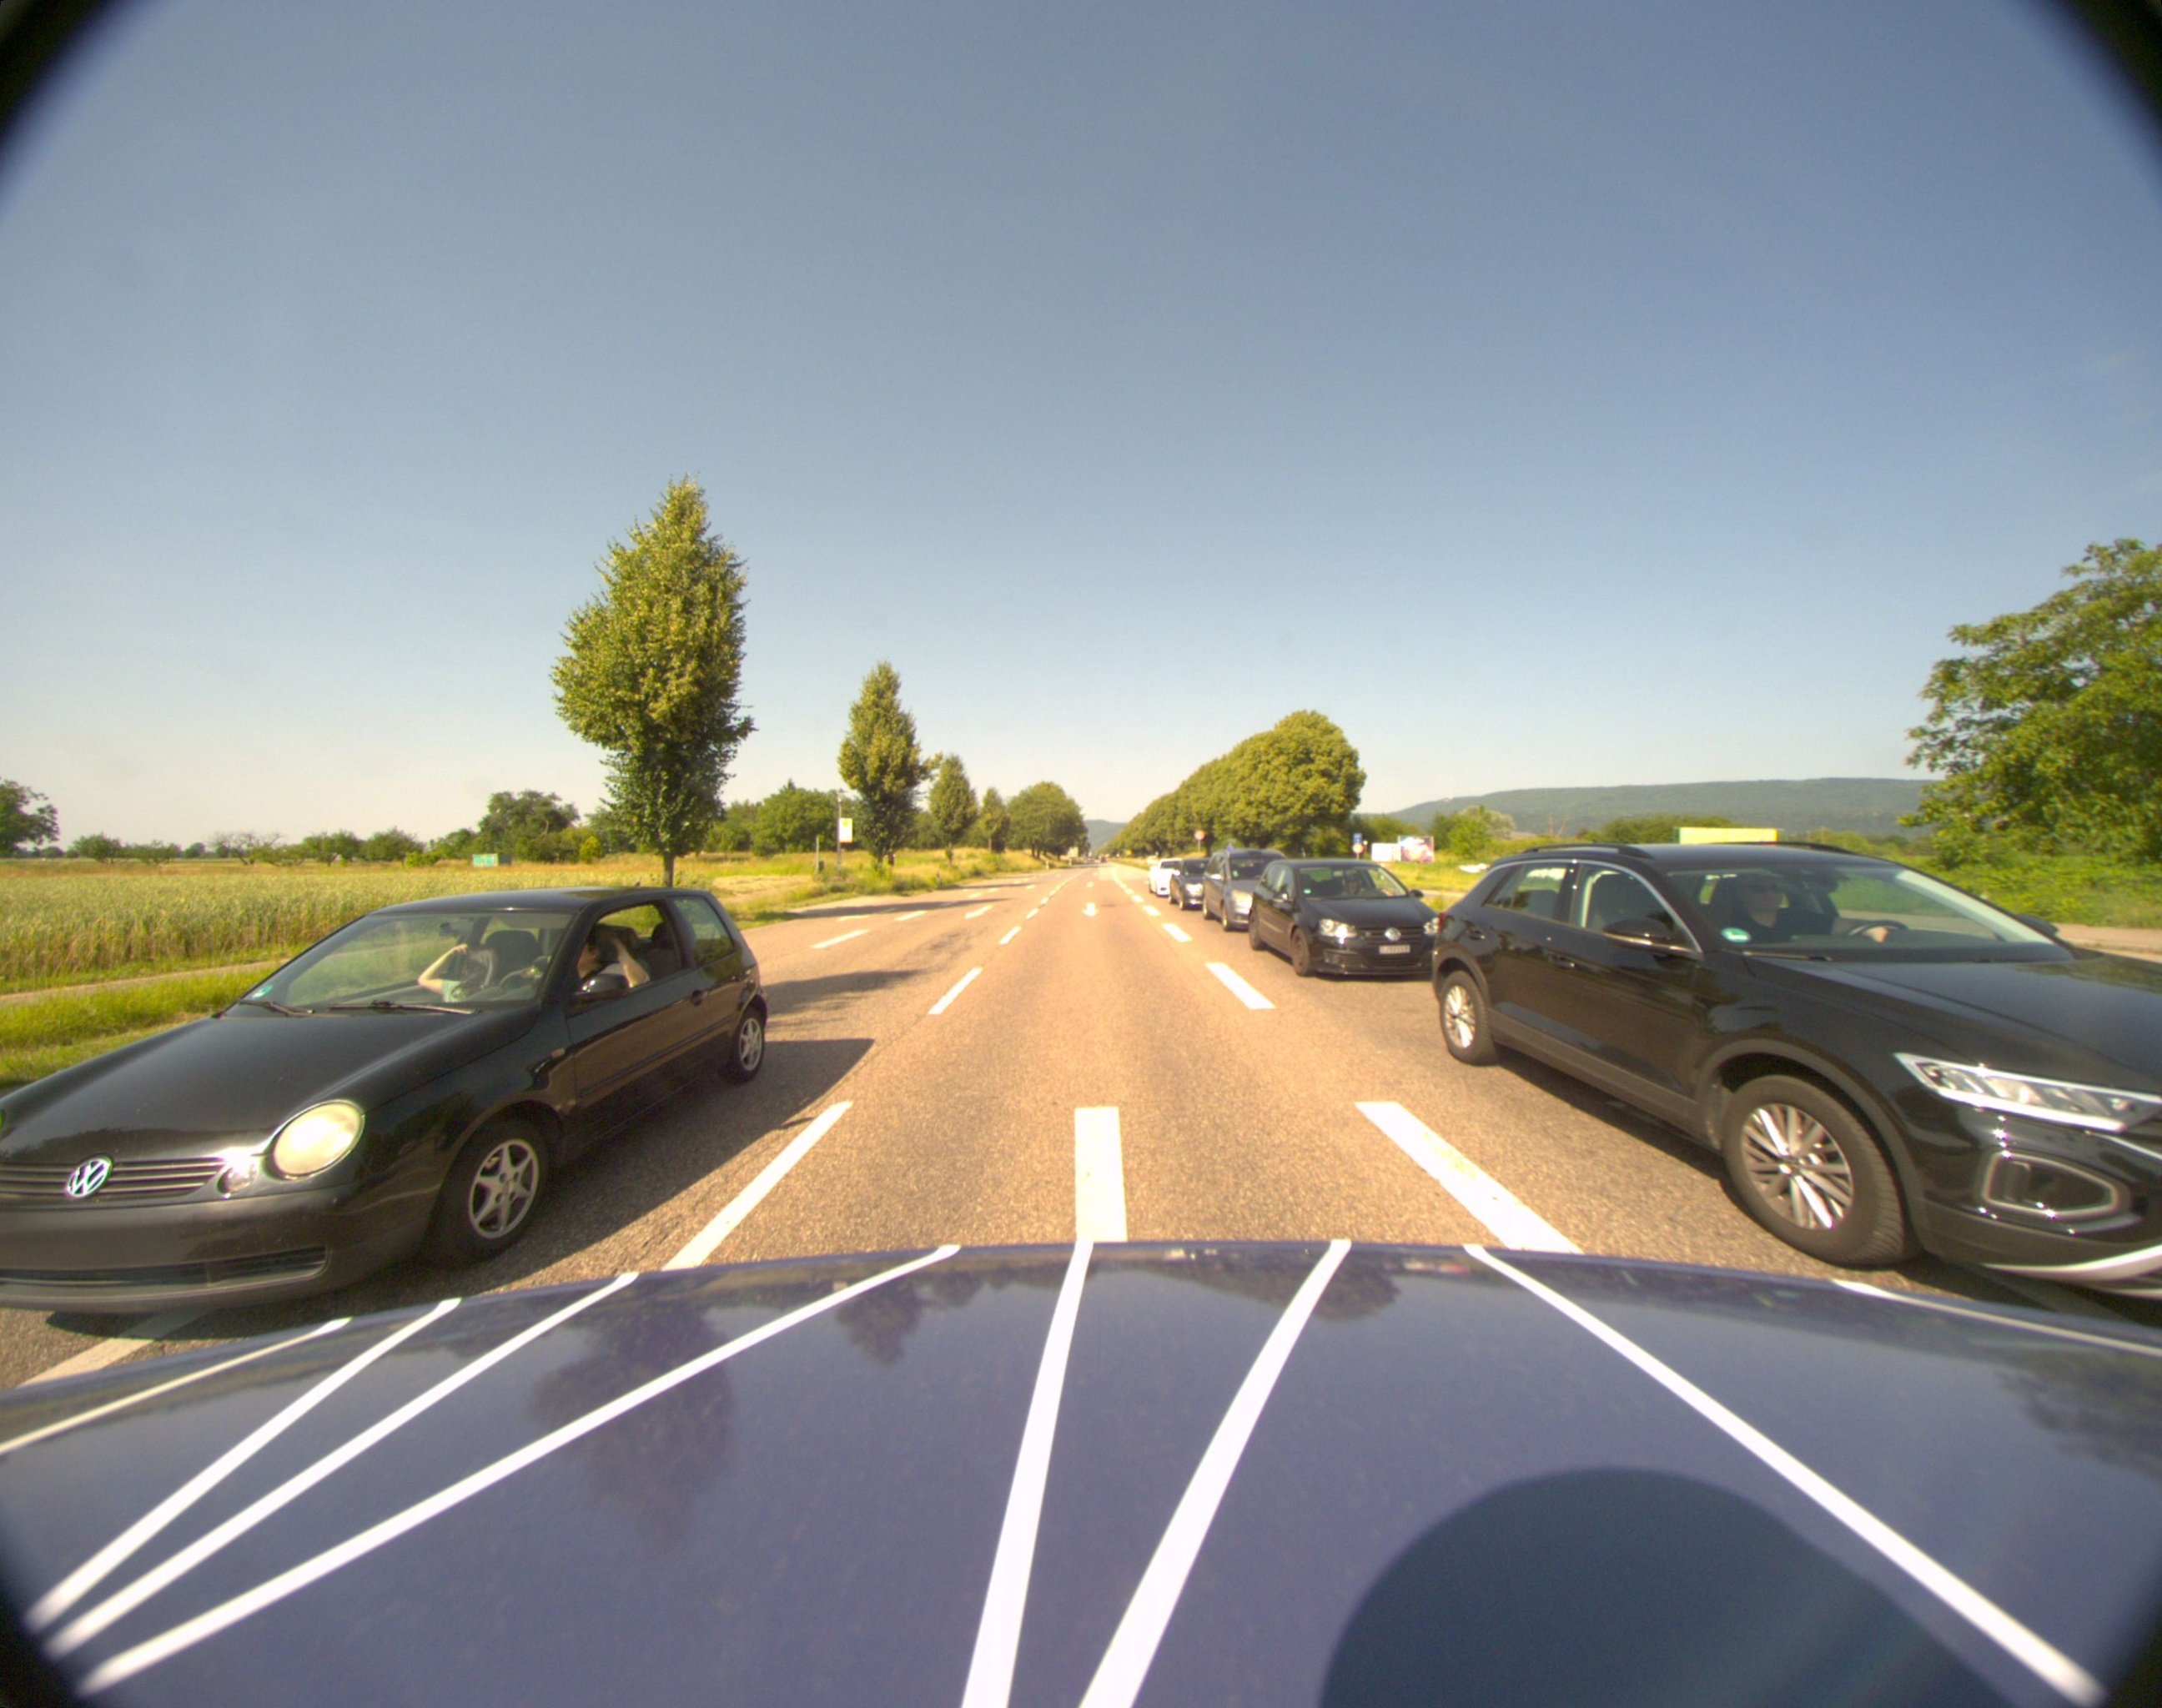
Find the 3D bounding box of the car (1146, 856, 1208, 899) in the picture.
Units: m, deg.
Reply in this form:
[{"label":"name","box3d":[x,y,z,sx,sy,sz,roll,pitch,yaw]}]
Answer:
[{"label":"car","box3d":[3.597,0.841,29.144,1.808,1.417,4.641,-1,0,1]}]

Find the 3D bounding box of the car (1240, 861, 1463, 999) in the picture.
[{"label":"car","box3d":[3.428,0.868,10.470,1.670,1.466,4.098,-1,0,1]}]

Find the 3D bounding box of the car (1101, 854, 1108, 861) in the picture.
[{"label":"car","box3d":[5.854,0.838,188.658,1.680,1.499,3.725,0,0,1]}]

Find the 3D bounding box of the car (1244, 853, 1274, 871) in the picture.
[{"label":"car","box3d":[14.933,0.658,64.011,1.618,1.434,3.775,1,0,0]}]

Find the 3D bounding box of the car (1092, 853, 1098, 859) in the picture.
[{"label":"car","box3d":[4.051,0.576,224.694,1.680,1.499,3.725,1,0,1]}]

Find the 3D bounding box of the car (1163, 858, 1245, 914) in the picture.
[{"label":"car","box3d":[3.483,0.864,22.214,1.719,1.402,4.355,-2,0,1]}]

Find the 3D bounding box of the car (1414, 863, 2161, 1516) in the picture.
[{"label":"car","box3d":[3.452,0.849,3.901,1.733,1.538,4.098,-1,0,1]}]

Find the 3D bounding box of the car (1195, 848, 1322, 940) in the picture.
[{"label":"car","box3d":[3.611,0.745,16.262,1.745,1.662,4.357,-1,0,1]}]

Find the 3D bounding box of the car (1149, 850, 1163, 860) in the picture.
[{"label":"car","box3d":[11.863,0.135,120.018,1.887,1.506,4.148,1,0,3]}]

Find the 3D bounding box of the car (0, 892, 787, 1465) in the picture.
[{"label":"car","box3d":[-3.104,1.026,3.968,1.629,1.425,3.622,-2,0,1]}]

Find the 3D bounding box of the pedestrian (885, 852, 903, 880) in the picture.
[{"label":"pedestrian","box3d":[-12.469,0.788,50.609,0.904,1.828,1.194,0,0,-1]}]
